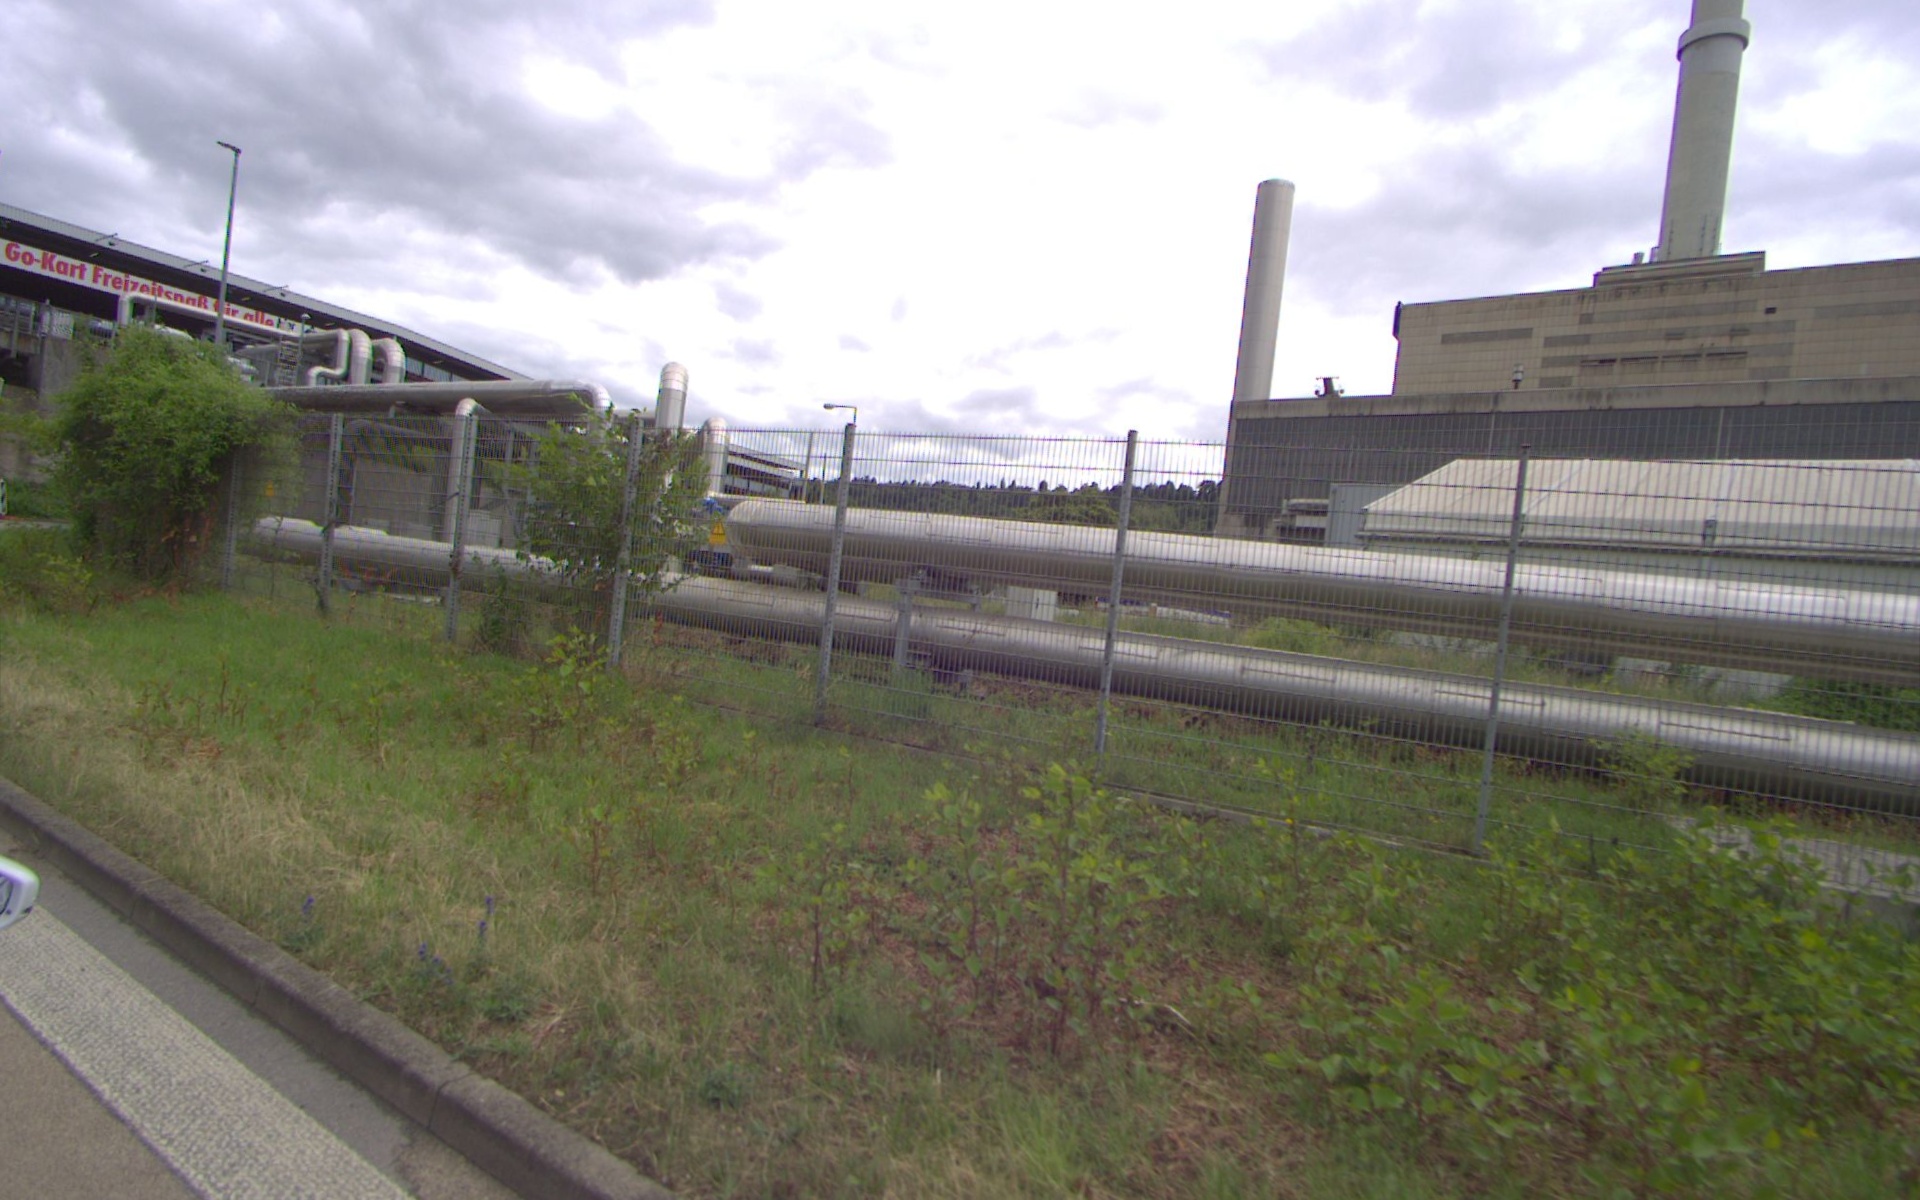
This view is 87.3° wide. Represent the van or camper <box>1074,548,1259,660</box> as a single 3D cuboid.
[{"bbox_3d":[6.201,0.210,29.489,2.538,2.580,6.100,7,0,39],"label":"van or camper"}]
